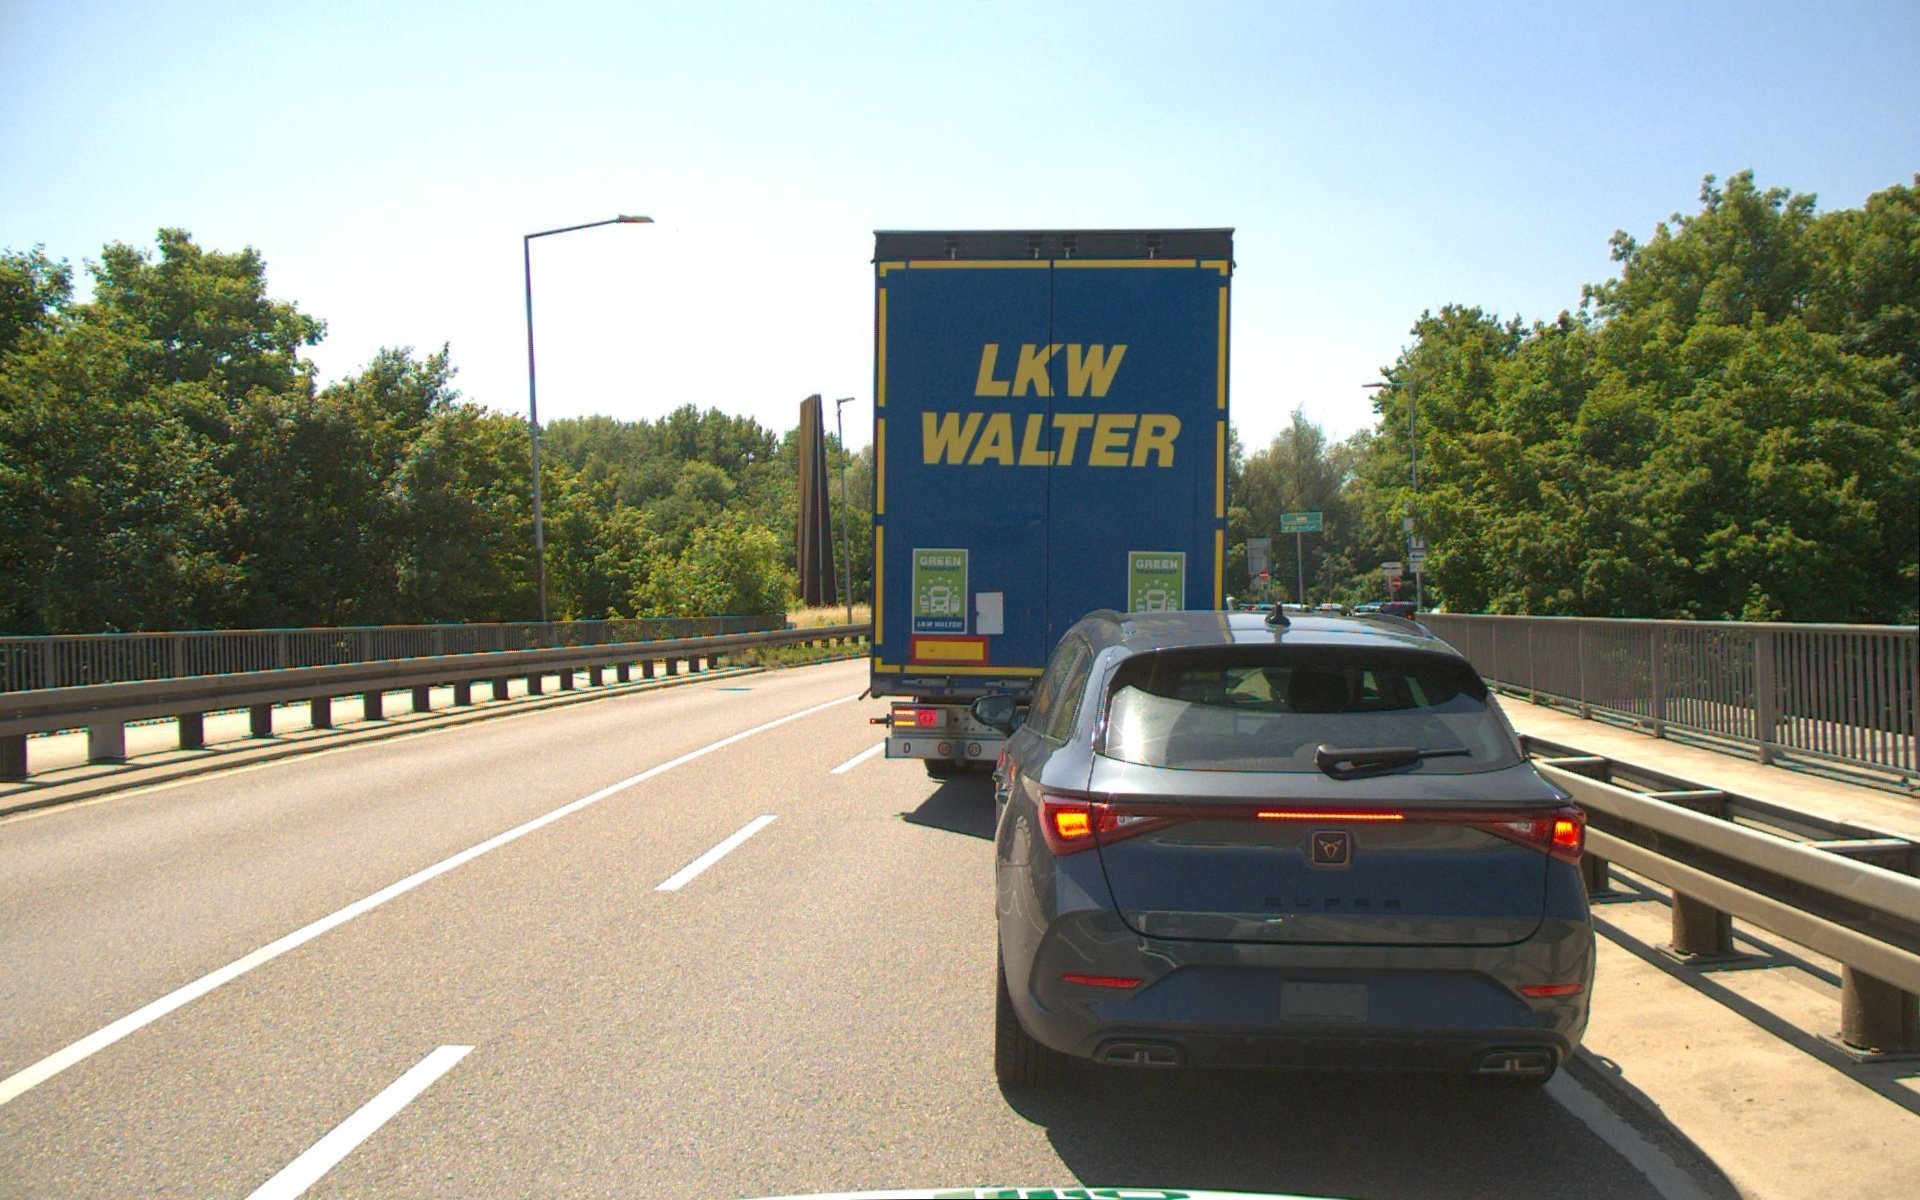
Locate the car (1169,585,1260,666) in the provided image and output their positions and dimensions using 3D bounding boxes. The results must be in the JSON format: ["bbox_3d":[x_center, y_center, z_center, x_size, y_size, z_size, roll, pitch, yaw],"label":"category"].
[{"bbox_3d":[6.369,0.585,41.073,1.684,1.876,4.002,0,1,17],"label":"car"}]

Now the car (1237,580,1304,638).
[{"bbox_3d":[10.455,0.268,55.495,1.685,1.876,4.002,0,0,18],"label":"car"}]

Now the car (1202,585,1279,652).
[{"bbox_3d":[8.074,0.484,47.417,1.684,1.834,4.002,0,0,17],"label":"car"}]

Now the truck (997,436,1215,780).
[{"bbox_3d":[2.311,0.078,25.071,2.843,4.496,6.560,0,0,7],"label":"truck"}]

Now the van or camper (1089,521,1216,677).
[{"bbox_3d":[4.032,-0.035,33.664,2.108,2.865,6.393,0,0,11],"label":"van or camper"}]

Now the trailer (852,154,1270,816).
[{"bbox_3d":[1.415,-0.819,17.581,2.843,4.496,12.442,0,0,7],"label":"trailer"}]

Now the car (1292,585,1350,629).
[{"bbox_3d":[14.937,0.297,68.365,1.651,1.791,3.999,0,-1,22],"label":"car"}]

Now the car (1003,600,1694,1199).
[{"bbox_3d":[0.978,0.742,5.930,1.642,1.481,3.959,0,0,1],"label":"car"}]

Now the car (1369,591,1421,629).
[{"bbox_3d":[21.212,0.484,80.554,1.653,1.791,3.995,0,-1,28],"label":"car"}]

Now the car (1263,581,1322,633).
[{"bbox_3d":[12.429,0.225,61.676,1.685,1.876,4.002,0,0,18],"label":"car"}]

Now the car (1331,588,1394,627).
[{"bbox_3d":[18.182,0.355,74.668,1.954,1.603,3.996,2,-1,26],"label":"car"}]
